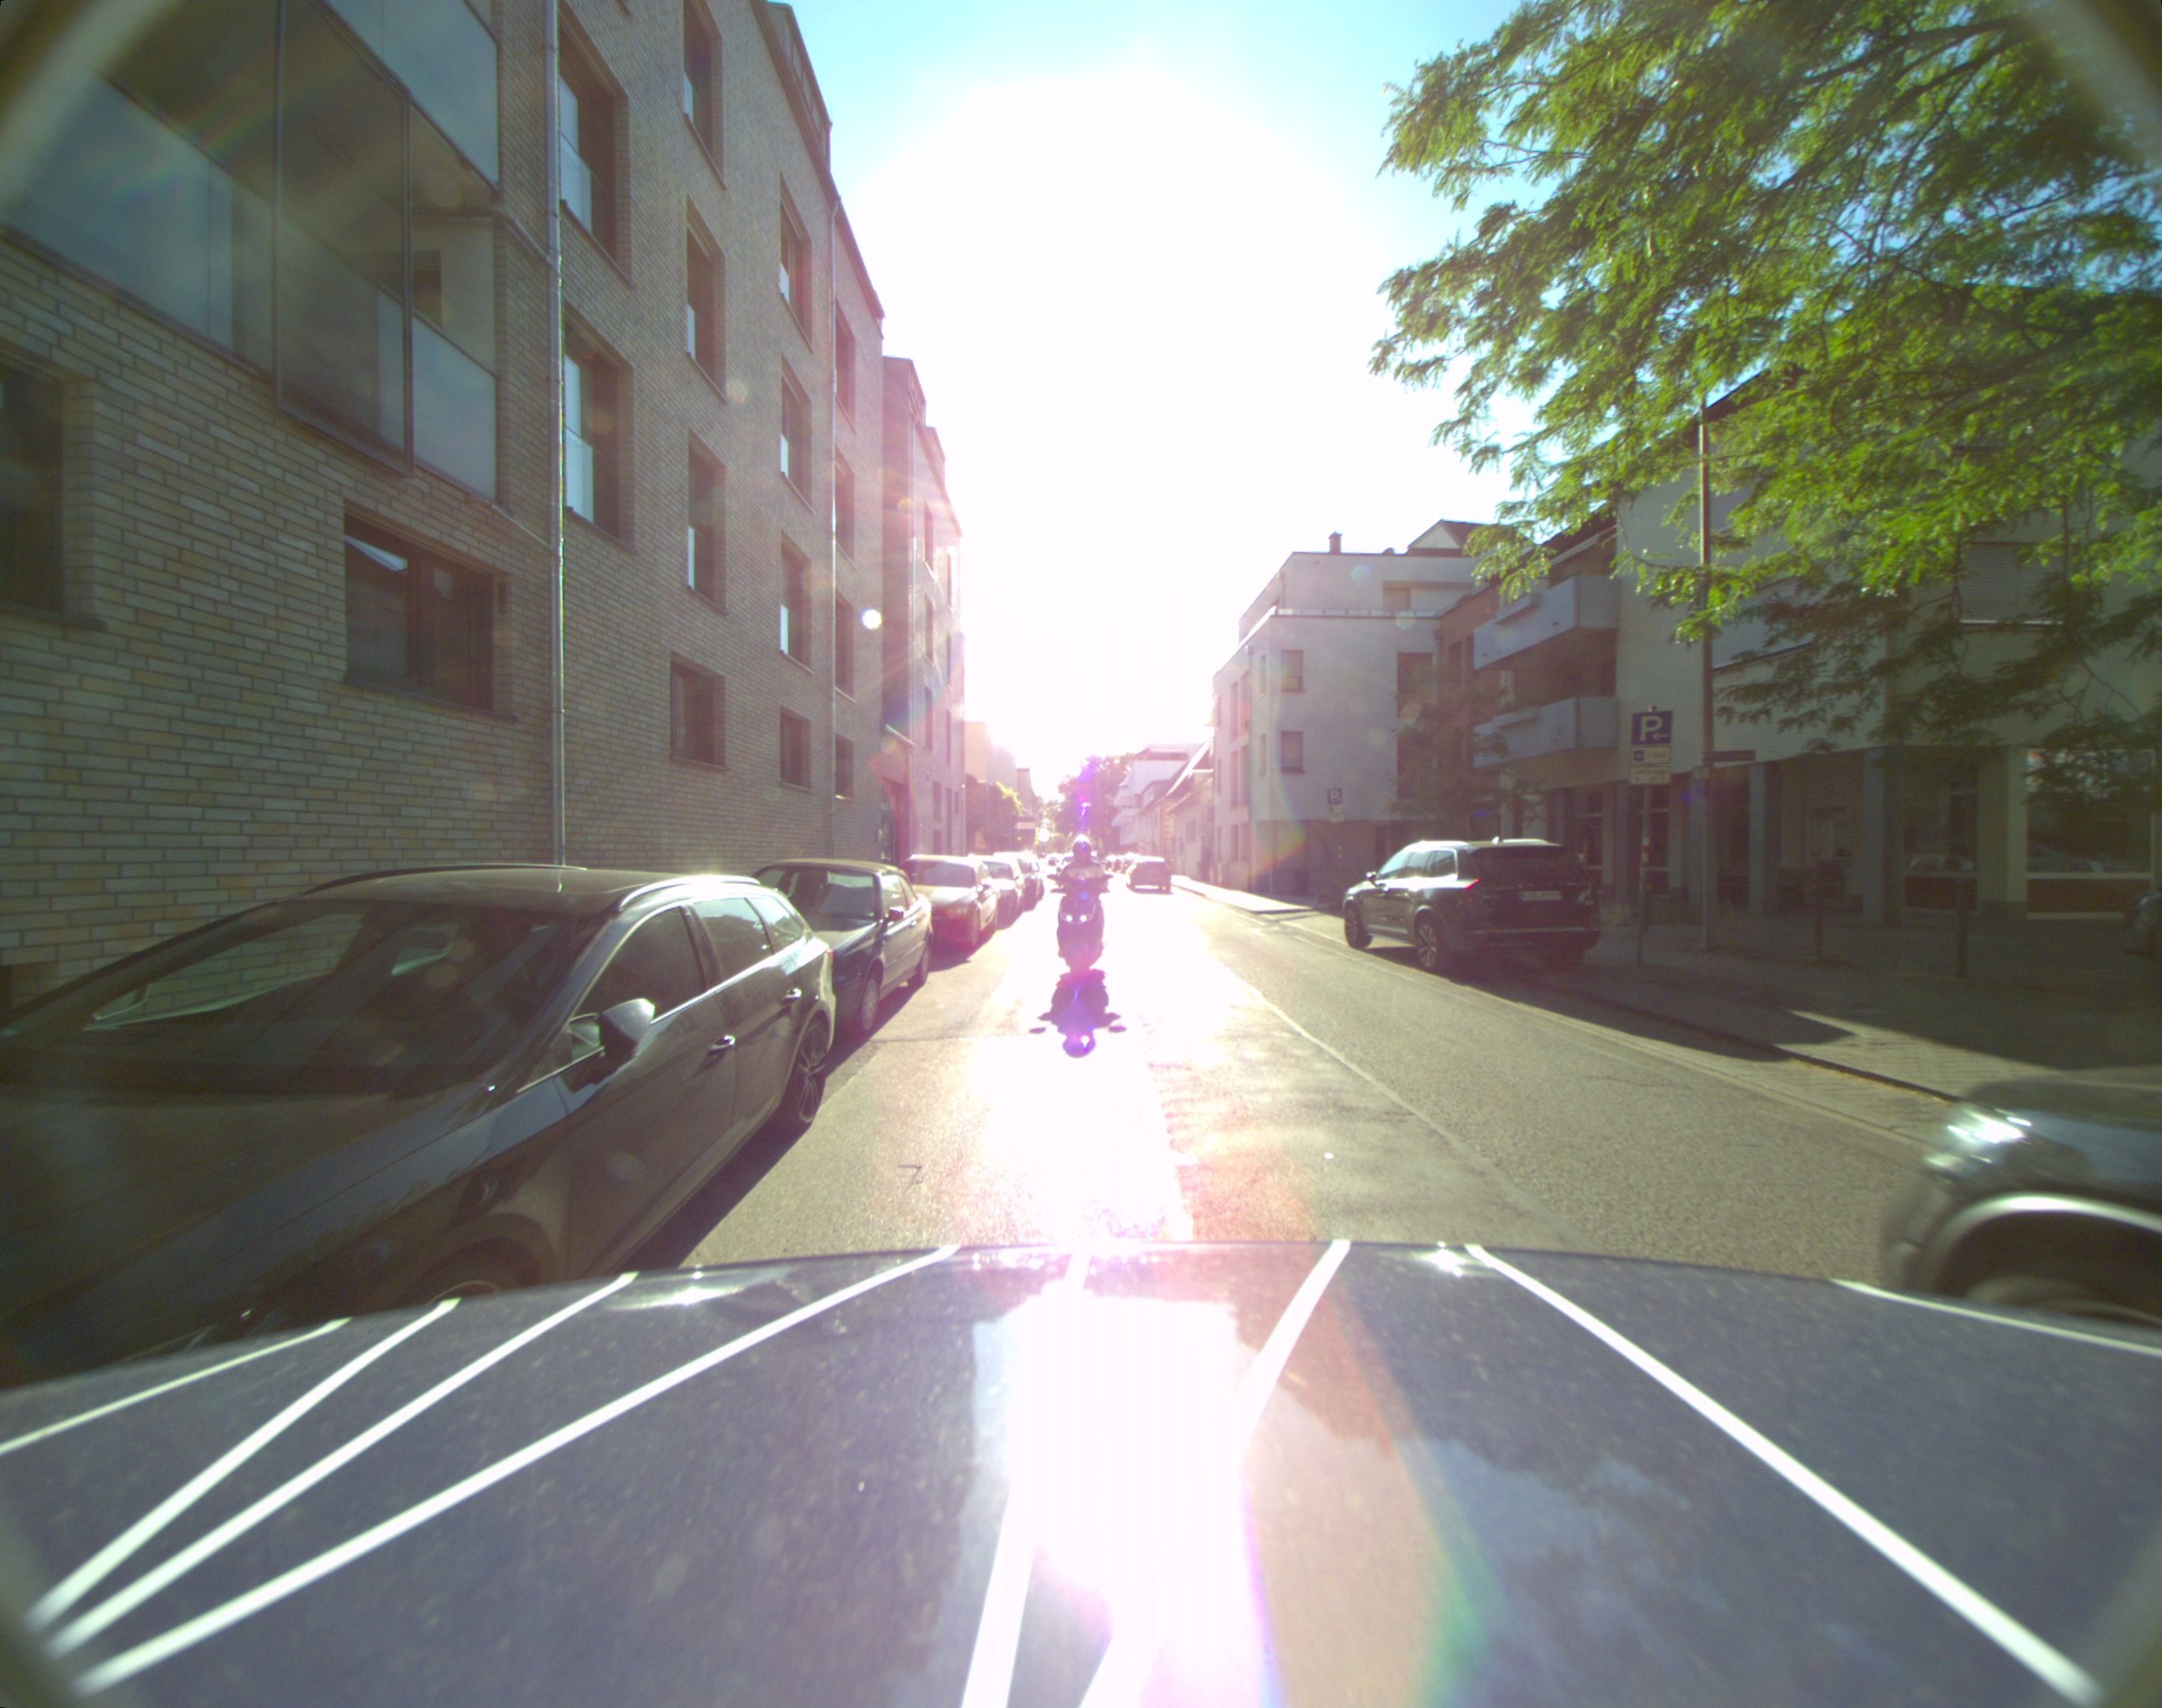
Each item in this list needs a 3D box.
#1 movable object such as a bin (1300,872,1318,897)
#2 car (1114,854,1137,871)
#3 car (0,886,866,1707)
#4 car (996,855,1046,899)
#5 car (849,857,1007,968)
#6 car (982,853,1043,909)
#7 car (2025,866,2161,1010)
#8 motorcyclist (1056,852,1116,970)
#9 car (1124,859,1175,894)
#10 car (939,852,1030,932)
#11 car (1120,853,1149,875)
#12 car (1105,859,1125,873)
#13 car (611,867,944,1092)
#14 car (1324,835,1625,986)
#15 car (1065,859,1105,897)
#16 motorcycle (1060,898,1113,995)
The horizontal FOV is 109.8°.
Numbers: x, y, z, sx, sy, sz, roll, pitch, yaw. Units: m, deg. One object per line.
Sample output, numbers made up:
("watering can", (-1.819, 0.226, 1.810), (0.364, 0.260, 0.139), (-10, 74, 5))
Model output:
("movable object such as a bin", (8.086, 1.071, 26.906), (0.491, 0.871, 0.433), (0, 1, -3))
("car", (4.406, 0.858, 74.983), (1.999, 1.613, 3.999), (0, 0, 0))
("car", (-2.303, 0.969, 2.932), (1.701, 1.459, 4.719), (1, 0, -2))
("car", (-2.199, 0.818, 28.458), (1.732, 1.515, 3.653), (0, 0, -3))
("car", (-2.464, 0.862, 13.433), (1.729, 1.520, 4.626), (3, 0, 1))
("car", (-2.071, 0.795, 23.991), (1.655, 1.582, 4.341), (1, 0, -2))
("car", (11.437, 0.845, 6.805), (1.524, 1.400, 3.640), (0, 0, 3))
("motorcyclist", (0.062, 0.688, 9.548), (0.717, 1.424, 0.746), (0, 1, 1))
("car", (3.026, 0.963, 34.150), (1.812, 1.458, 3.999), (0, 0, -2))
("car", (-2.228, 0.812, 18.743), (1.671, 1.723, 4.838), (0, 0, -1))
("car", (4.611, 0.838, 66.244), (1.999, 1.619, 3.999), (-7, 0, 0))
("car", (3.802, 1.360, 85.157), (1.999, 1.458, 3.999), (0, 0, 0))
("car", (-2.565, 0.947, 7.575), (1.668, 1.507, 4.218), (1, 0, -1))
("car", (5.521, 0.669, 11.626), (1.936, 1.695, 5.100), (-3, 0, 1))
("car", (0.174, 1.082, 35.543), (1.708, 1.570, 3.915), (-2, 0, 0))
("motorcycle", (0.075, 1.111, 9.621), (0.598, 1.004, 1.821), (0, 0, 1))
